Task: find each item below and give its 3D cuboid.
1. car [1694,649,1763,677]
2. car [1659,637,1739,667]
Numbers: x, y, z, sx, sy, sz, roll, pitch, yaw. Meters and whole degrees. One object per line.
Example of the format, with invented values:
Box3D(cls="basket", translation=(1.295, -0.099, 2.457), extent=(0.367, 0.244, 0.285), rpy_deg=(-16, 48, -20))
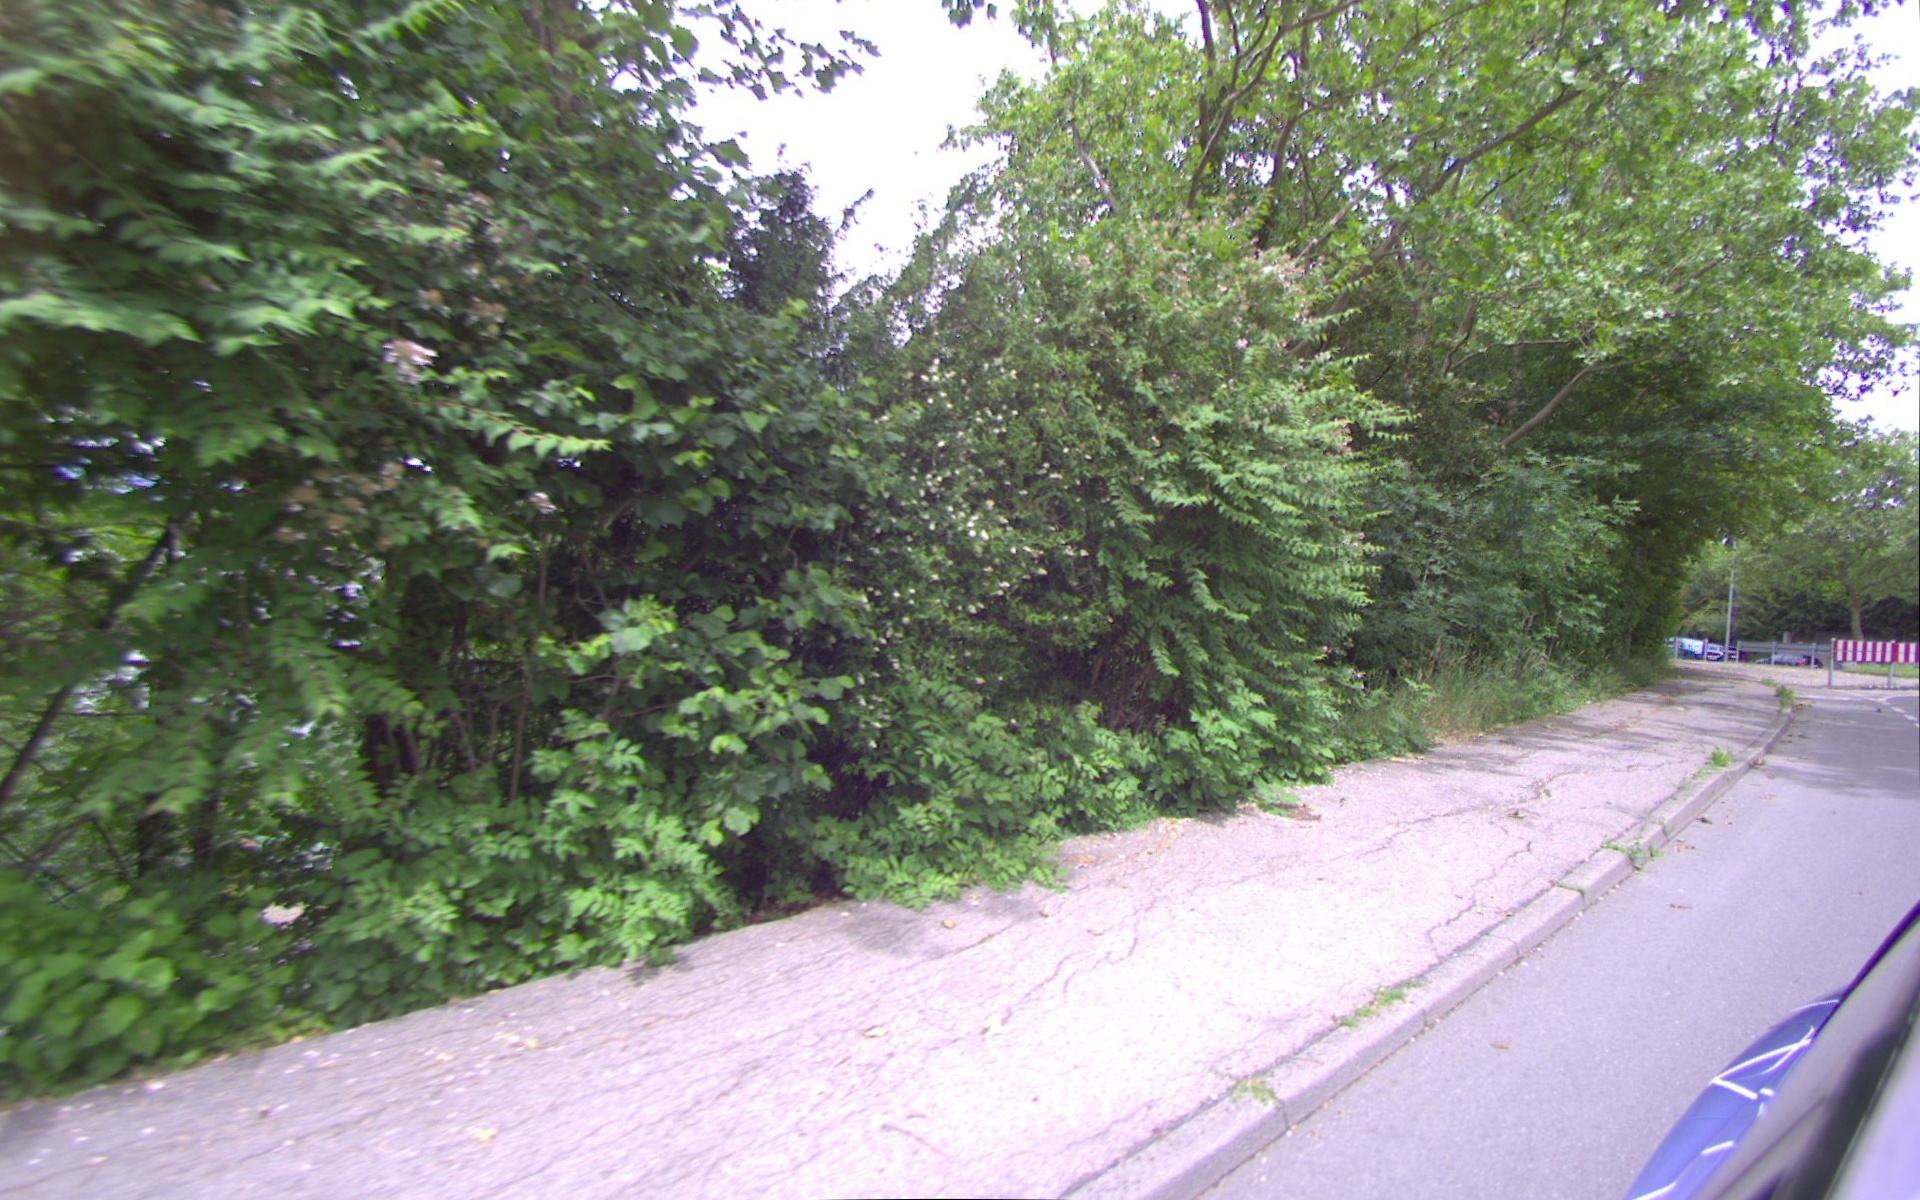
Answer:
Box3D(cls="car", translation=(55.253, 4.484, 72.836), extent=(1.764, 1.623, 4.038), rpy_deg=(5, 0, 0))
Box3D(cls="car", translation=(45.854, 3.219, 62.888), extent=(1.764, 1.446, 4.147), rpy_deg=(7, 0, 0))
